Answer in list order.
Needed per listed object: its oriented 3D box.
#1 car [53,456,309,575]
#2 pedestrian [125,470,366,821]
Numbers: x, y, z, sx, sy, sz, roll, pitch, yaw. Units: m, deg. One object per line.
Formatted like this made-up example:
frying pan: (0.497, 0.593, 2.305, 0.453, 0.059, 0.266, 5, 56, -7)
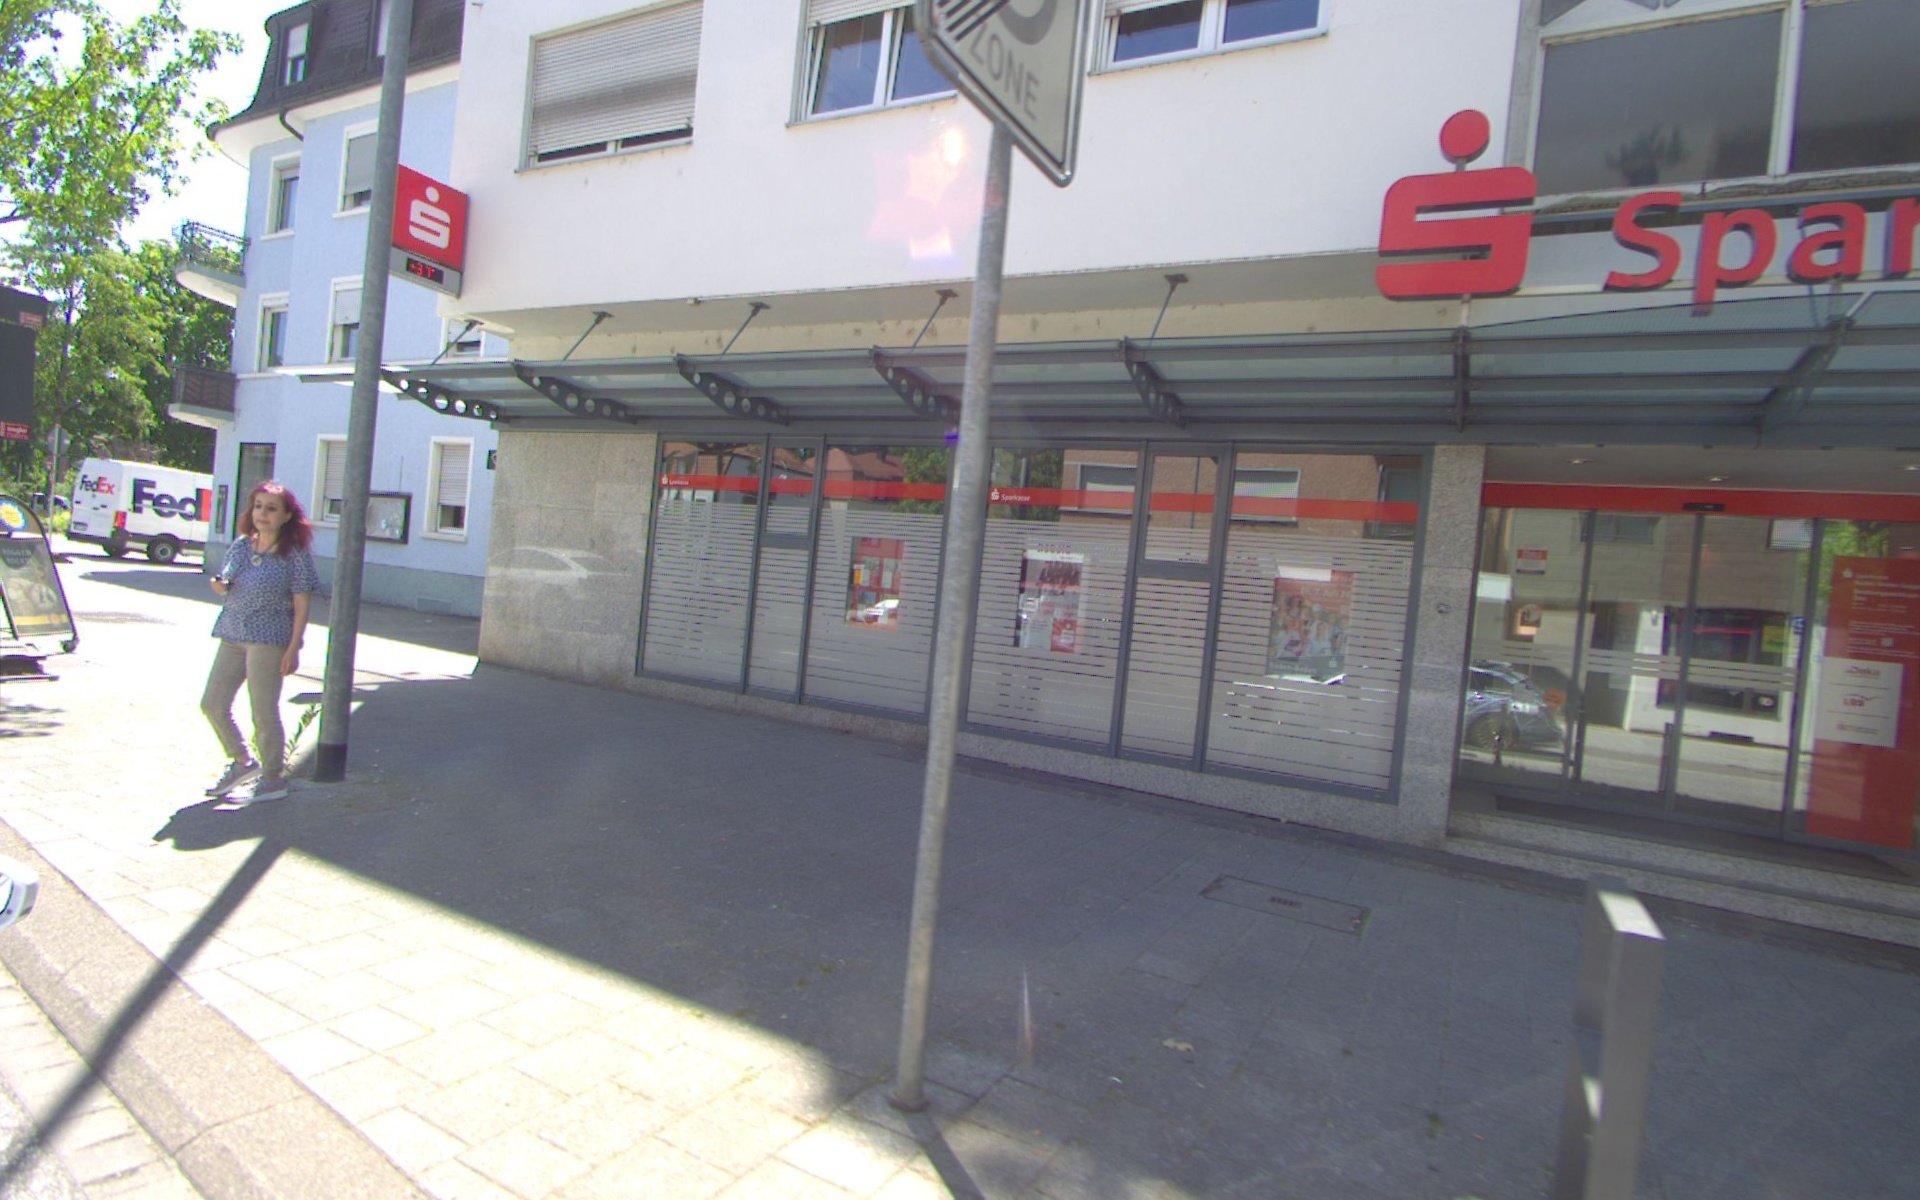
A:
car: (-21.774, -2.247, 28.508, 1.962, 2.511, 5.485, 9, 1, 14)
pedestrian: (-3.638, 0.217, 5.148, 0.550, 1.630, 0.733, 7, 1, 30)
